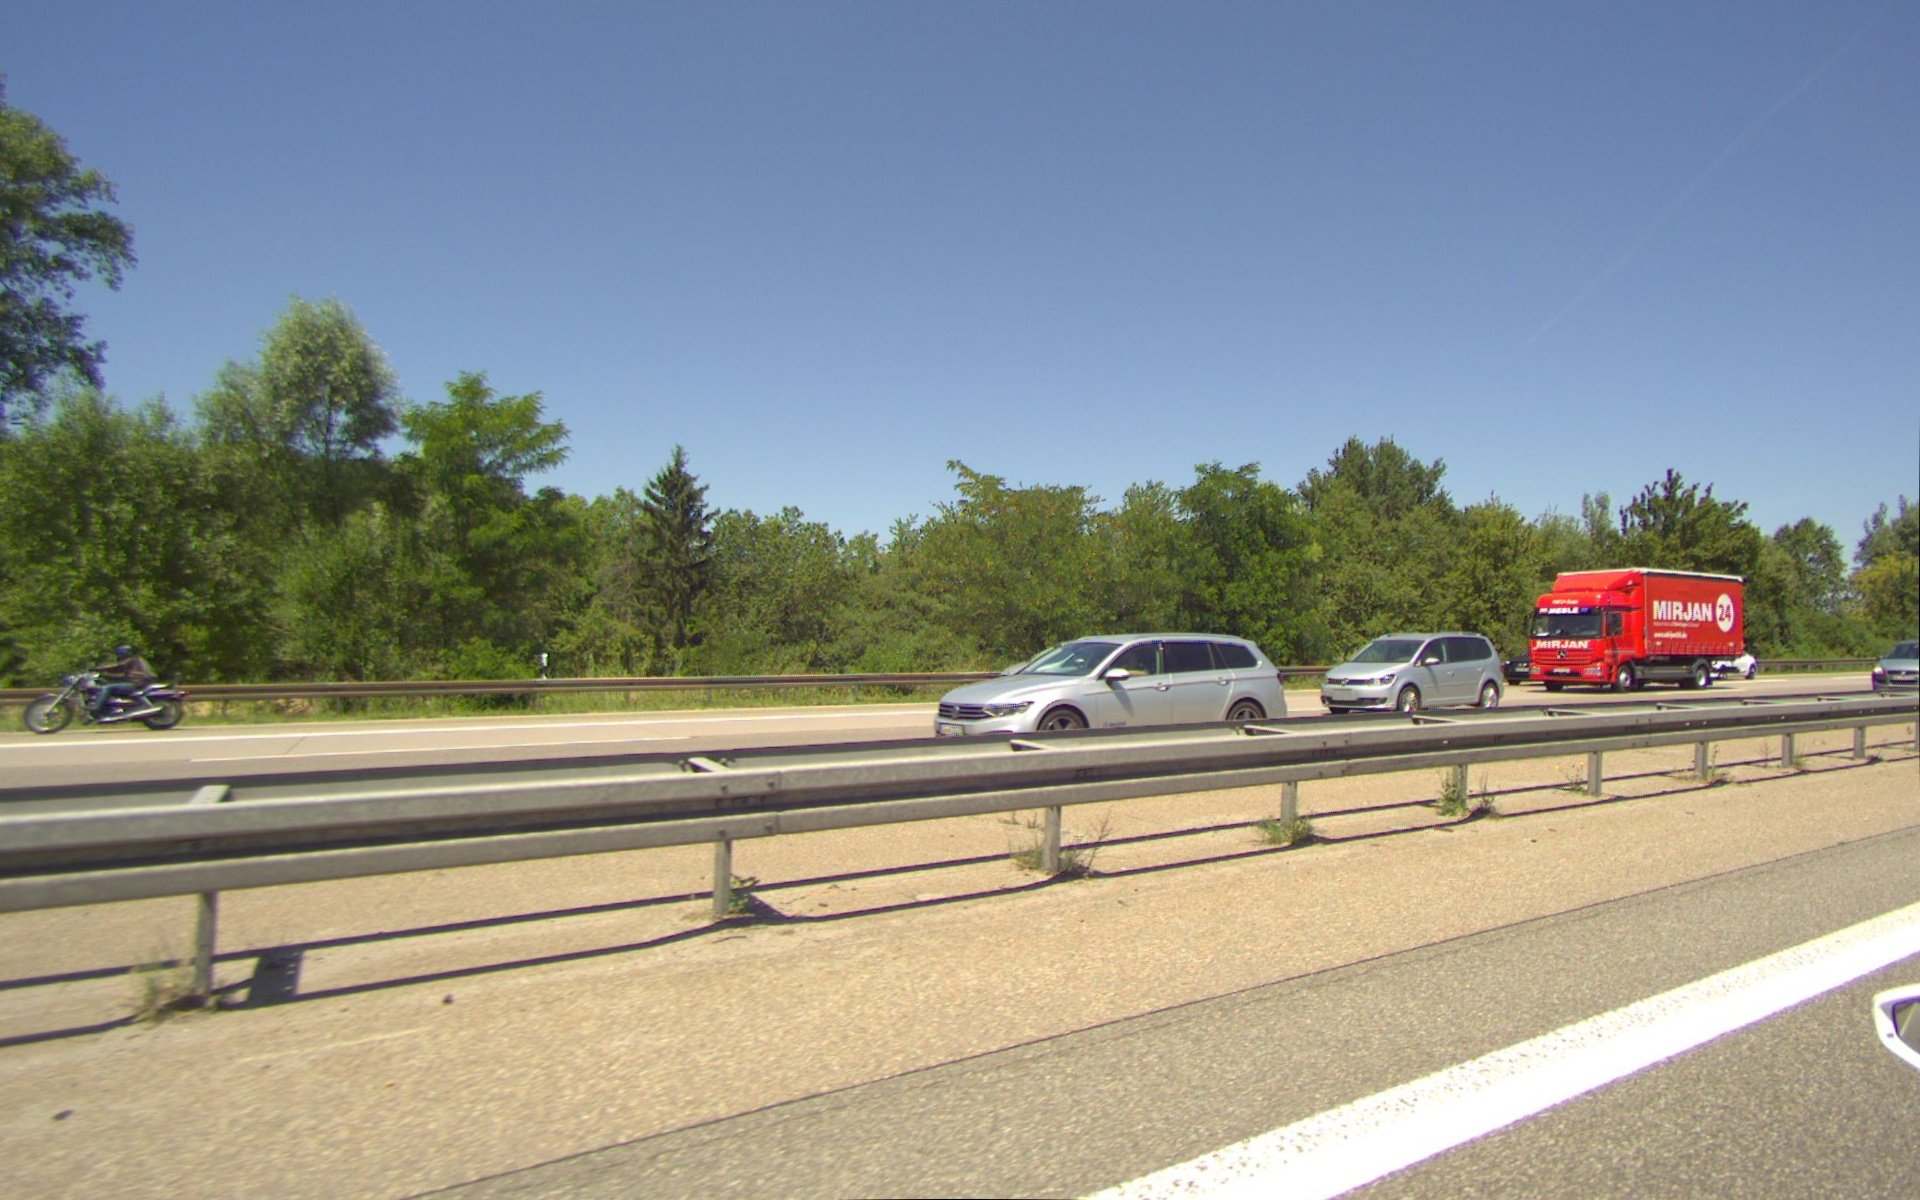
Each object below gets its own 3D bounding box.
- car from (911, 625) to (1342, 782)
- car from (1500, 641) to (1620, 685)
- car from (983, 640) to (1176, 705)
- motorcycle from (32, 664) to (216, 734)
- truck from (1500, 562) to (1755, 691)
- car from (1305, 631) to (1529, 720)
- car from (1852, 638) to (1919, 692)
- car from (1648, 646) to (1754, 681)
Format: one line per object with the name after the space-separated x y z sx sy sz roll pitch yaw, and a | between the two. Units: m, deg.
2.143 1.128 12.332 5.162 1.573 1.984 2 -2 -30 | car
22.613 2.355 37.852 4.215 1.599 1.986 2 -4 -29 | car
3.093 1.824 25.776 4.665 1.529 1.985 2 -4 -30 | car
-14.804 1.732 17.891 2.363 1.127 0.776 2 -2 -27 | motorcycle
22.190 0.981 33.180 9.692 3.775 3.050 2 -4 -31 | truck
9.444 1.498 20.712 4.490 1.647 1.985 2 -3 -30 | car
28.904 1.930 30.329 4.071 1.526 1.886 2 -2 -32 | car
32.727 2.772 44.324 4.914 1.431 1.984 1 -2 -30 | car
